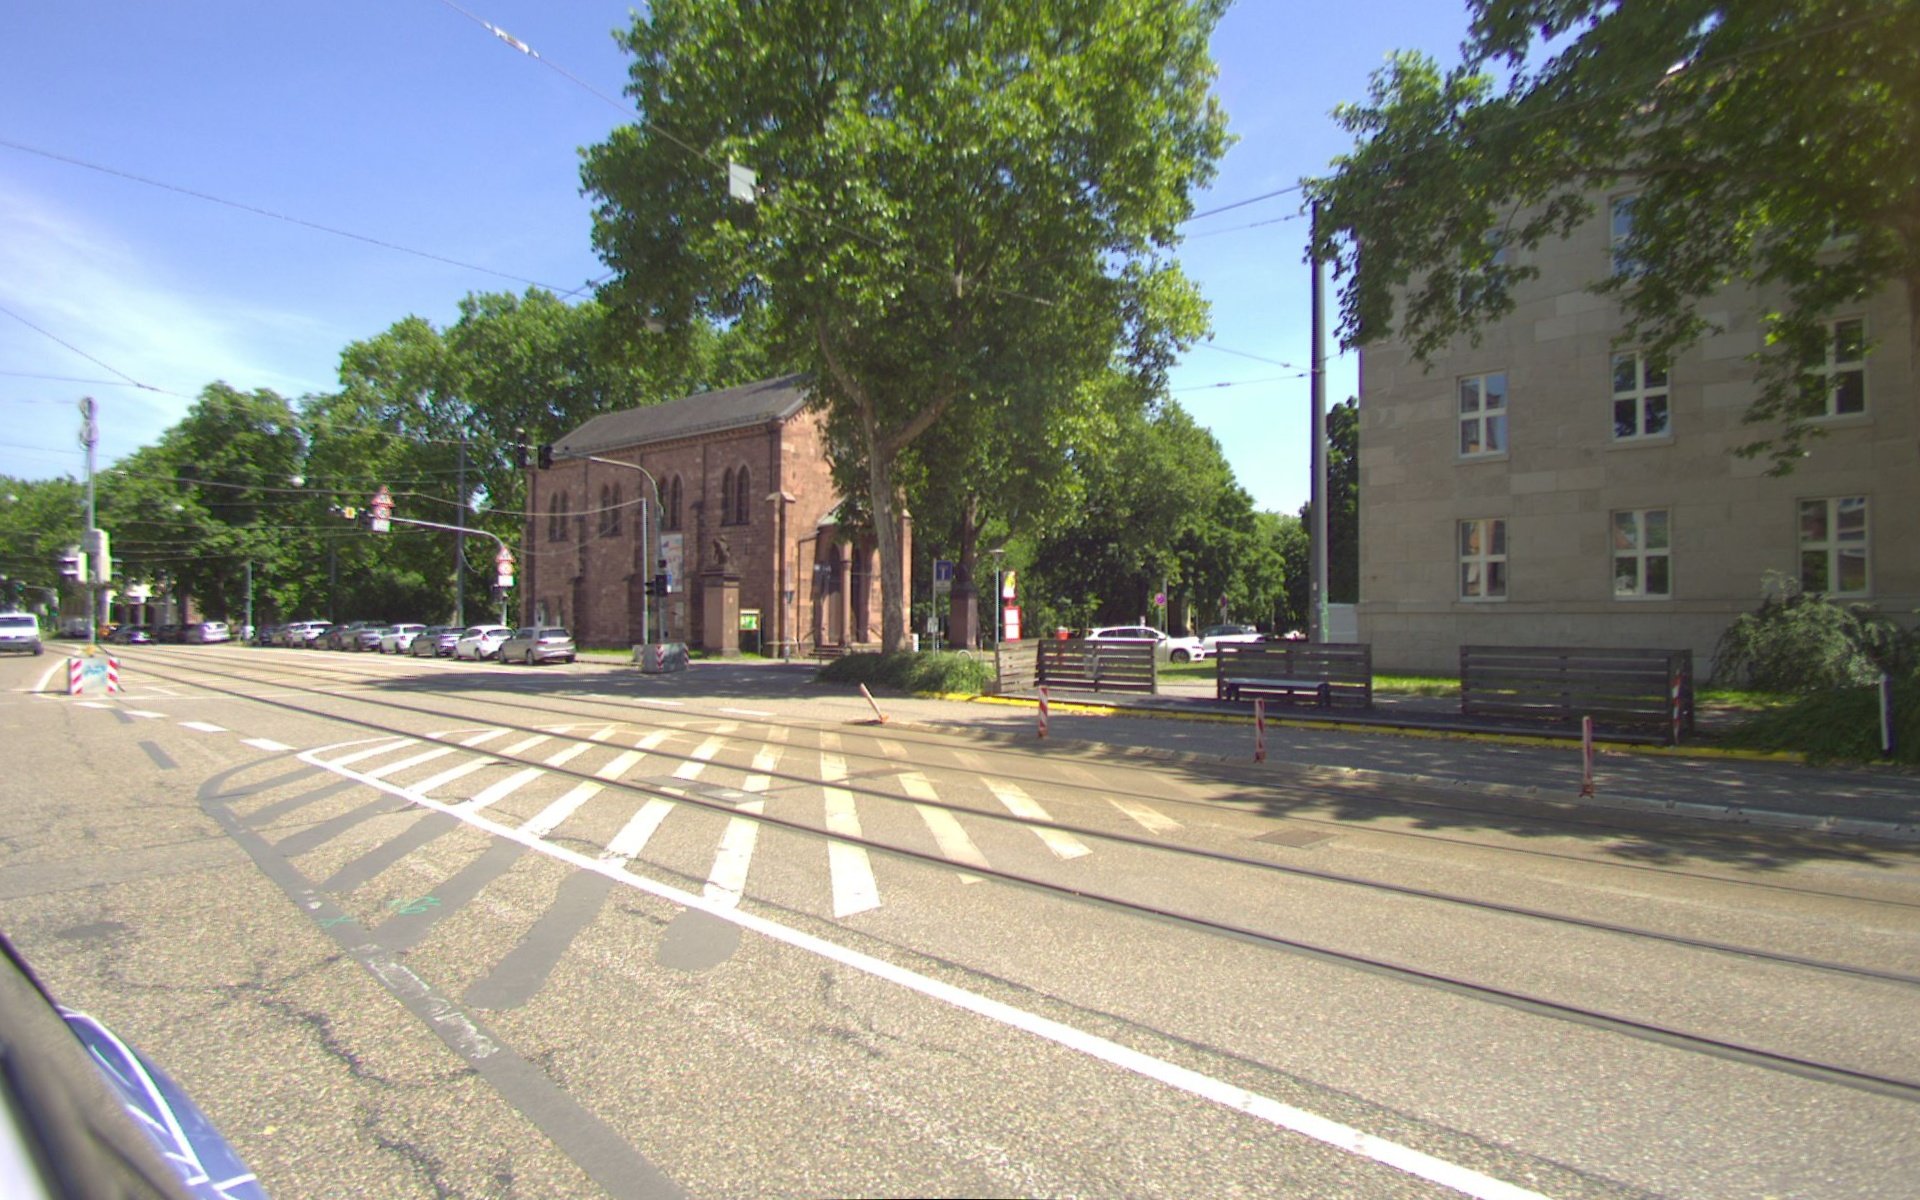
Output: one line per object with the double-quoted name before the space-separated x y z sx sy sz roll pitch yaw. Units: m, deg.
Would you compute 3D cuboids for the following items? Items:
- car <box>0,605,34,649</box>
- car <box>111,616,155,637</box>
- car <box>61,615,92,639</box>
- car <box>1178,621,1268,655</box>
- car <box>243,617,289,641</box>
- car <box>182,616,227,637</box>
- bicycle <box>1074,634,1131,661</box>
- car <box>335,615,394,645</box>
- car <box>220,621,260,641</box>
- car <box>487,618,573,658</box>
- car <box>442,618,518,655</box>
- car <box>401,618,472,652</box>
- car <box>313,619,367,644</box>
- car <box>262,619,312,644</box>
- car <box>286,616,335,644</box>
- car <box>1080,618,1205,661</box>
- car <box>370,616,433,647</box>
"car" -44.001 1.234 46.448 2.134 1.952 4.860 0 -1 -42
"car" -58.101 1.837 71.051 4.345 1.405 1.728 -1 -1 41
"car" -85.840 2.639 98.318 3.760 2.314 1.797 -1 -1 41
"car" 10.948 1.585 42.370 3.558 1.387 1.714 -1 -1 12
"car" -47.312 1.970 68.954 4.188 1.509 1.724 -1 -1 43
"car" -56.892 1.984 76.180 3.998 1.575 1.952 -1 -1 41
"bicycle" 5.041 1.674 35.777 1.896 0.907 0.639 -1 -1 24
"car" -31.844 1.596 54.042 3.753 1.535 1.724 -1 -1 43
"car" -51.536 2.210 72.435 3.765 1.390 1.628 -1 -1 43
"car" -16.974 1.470 39.860 4.222 1.470 1.640 -1 -1 44
"car" -20.570 1.545 43.326 4.060 1.470 1.640 -1 -1 44
"car" -24.242 1.581 46.790 4.058 1.470 1.640 -1 -1 43
"car" -35.537 1.791 57.949 4.000 1.386 1.649 -1 -1 43
"car" -43.052 1.987 64.695 4.188 1.509 1.724 -1 -1 43
"car" -39.361 1.810 61.321 3.907 1.665 1.723 -1 -1 45
"car" 6.766 1.450 37.815 4.484 1.520 1.909 -1 -1 9
"car" -27.983 1.572 50.669 3.753 1.470 1.724 -1 -1 43
